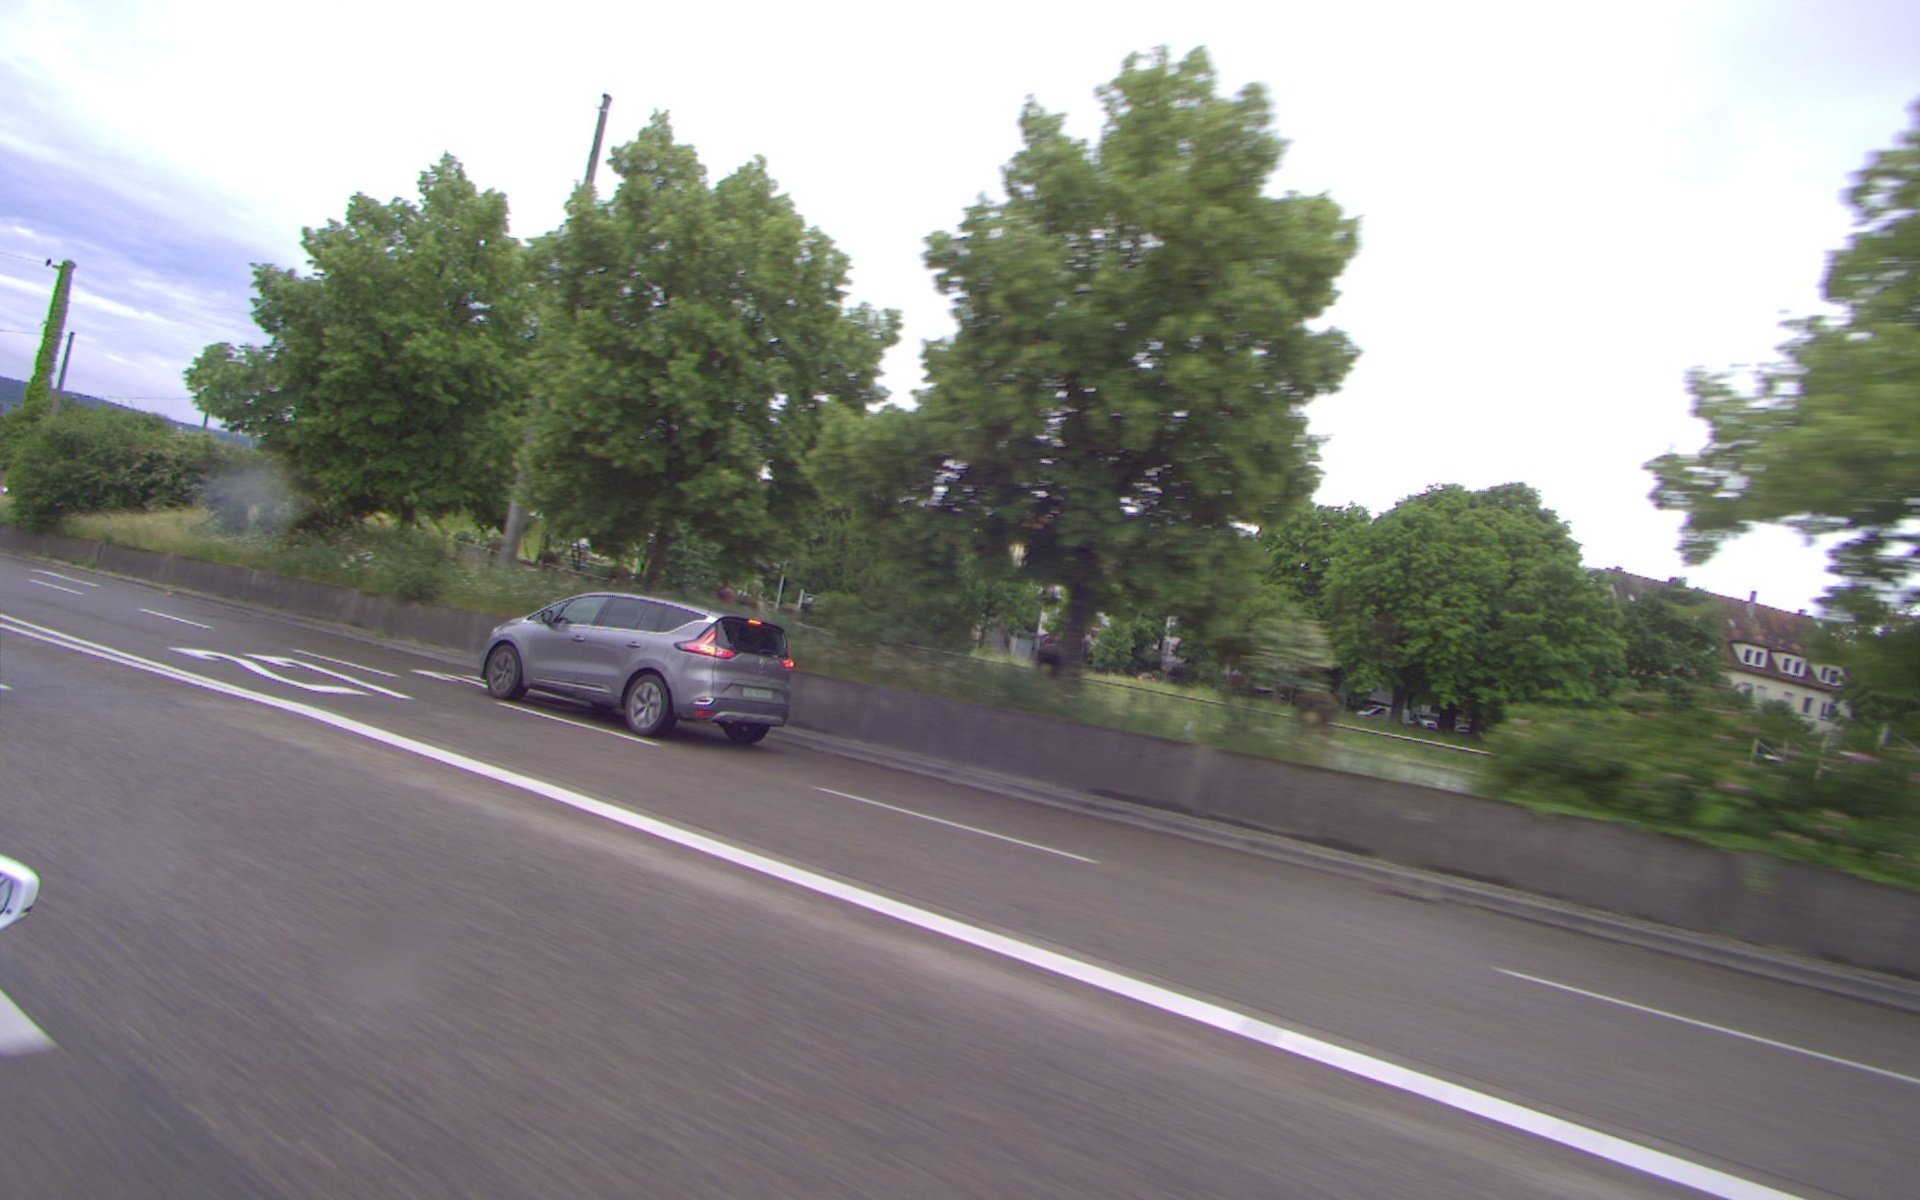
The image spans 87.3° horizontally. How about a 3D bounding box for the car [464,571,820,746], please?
[{"bbox_3d":[-4.242,0.719,13.167,4.550,1.665,1.731,5,-6,32],"label":"car"}]
